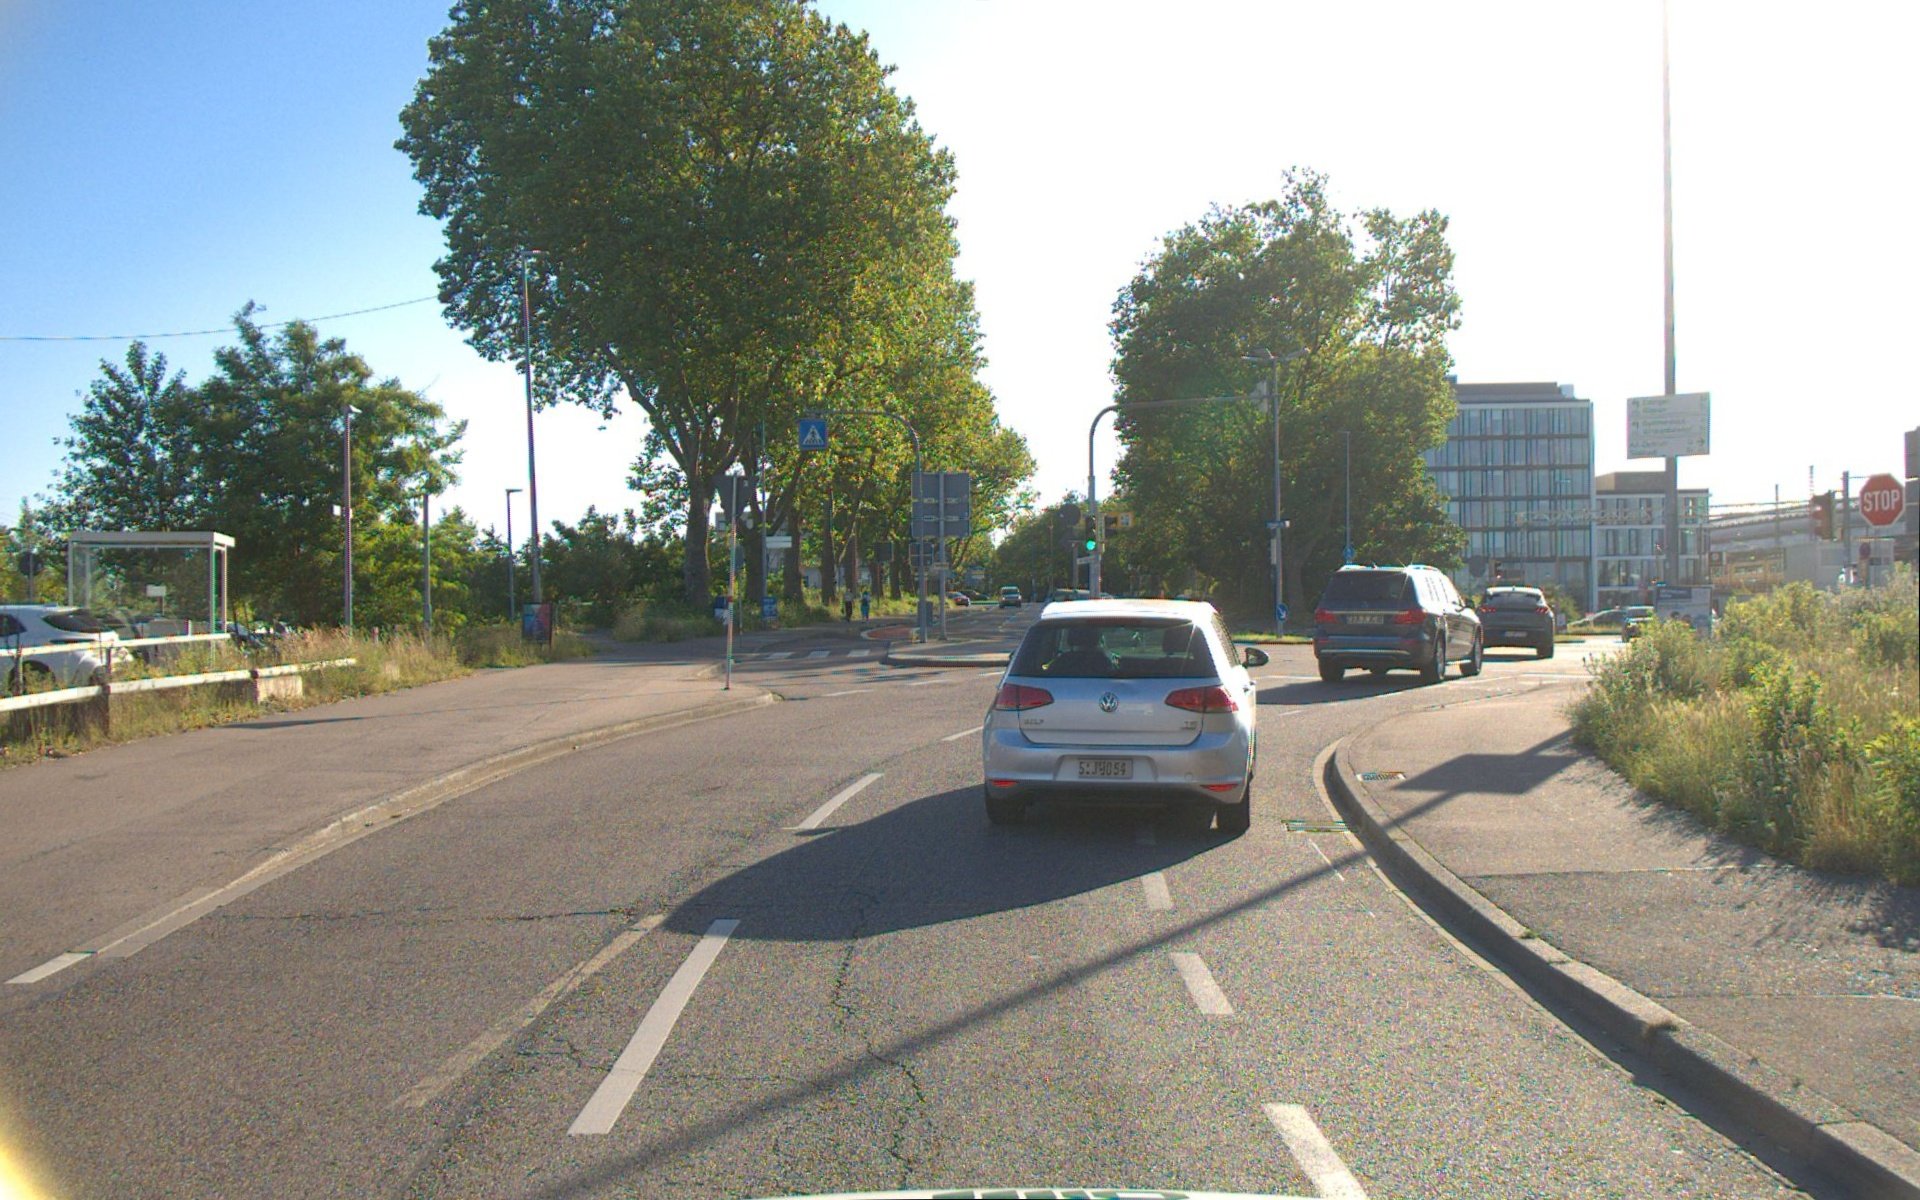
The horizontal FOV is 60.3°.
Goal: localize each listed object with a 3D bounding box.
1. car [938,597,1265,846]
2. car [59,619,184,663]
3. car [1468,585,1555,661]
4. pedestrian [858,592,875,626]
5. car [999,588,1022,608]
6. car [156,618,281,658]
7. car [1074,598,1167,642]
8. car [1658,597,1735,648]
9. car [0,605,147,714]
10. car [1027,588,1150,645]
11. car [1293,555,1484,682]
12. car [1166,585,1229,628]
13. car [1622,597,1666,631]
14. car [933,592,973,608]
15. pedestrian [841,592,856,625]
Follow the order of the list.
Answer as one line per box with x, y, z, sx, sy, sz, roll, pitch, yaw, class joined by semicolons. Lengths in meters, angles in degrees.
1.177;0.710;11.744;1.928;1.452;3.940;0;0;11;car
-33.928;1.643;67.008;4.057;1.736;1.979;0;0;1;car
13.318;0.534;40.120;1.901;1.743;4.203;0;0;17;car
-4.580;0.443;80.848;0.713;1.619;0.805;0;0;4;pedestrian
4.506;-0.202;147.976;1.816;1.774;4.264;0;0;-2;car
-34.069;1.723;76.108;4.843;1.795;2.000;0;0;1;car
5.492;0.684;57.145;1.872;1.452;3.918;1;0;-17;car
22.915;0.672;51.424;1.716;1.502;3.991;0;0;31;car
-14.511;0.843;24.296;4.174;1.537;1.891;0;0;-2;car
3.889;0.491;50.759;1.893;1.664;4.082;1;0;-28;car
7.251;0.301;27.604;2.072;1.920;4.806;0;0;27;car
9.971;0.264;69.677;1.816;1.774;4.263;0;0;-3;car
30.666;0.607;74.118;1.713;1.502;3.997;0;0;25;car
-0.724;-0.008;167.312;1.840;1.627;4.267;0;0;-37;car
-5.452;0.424;81.196;0.649;1.614;0.632;0;0;4;pedestrian
